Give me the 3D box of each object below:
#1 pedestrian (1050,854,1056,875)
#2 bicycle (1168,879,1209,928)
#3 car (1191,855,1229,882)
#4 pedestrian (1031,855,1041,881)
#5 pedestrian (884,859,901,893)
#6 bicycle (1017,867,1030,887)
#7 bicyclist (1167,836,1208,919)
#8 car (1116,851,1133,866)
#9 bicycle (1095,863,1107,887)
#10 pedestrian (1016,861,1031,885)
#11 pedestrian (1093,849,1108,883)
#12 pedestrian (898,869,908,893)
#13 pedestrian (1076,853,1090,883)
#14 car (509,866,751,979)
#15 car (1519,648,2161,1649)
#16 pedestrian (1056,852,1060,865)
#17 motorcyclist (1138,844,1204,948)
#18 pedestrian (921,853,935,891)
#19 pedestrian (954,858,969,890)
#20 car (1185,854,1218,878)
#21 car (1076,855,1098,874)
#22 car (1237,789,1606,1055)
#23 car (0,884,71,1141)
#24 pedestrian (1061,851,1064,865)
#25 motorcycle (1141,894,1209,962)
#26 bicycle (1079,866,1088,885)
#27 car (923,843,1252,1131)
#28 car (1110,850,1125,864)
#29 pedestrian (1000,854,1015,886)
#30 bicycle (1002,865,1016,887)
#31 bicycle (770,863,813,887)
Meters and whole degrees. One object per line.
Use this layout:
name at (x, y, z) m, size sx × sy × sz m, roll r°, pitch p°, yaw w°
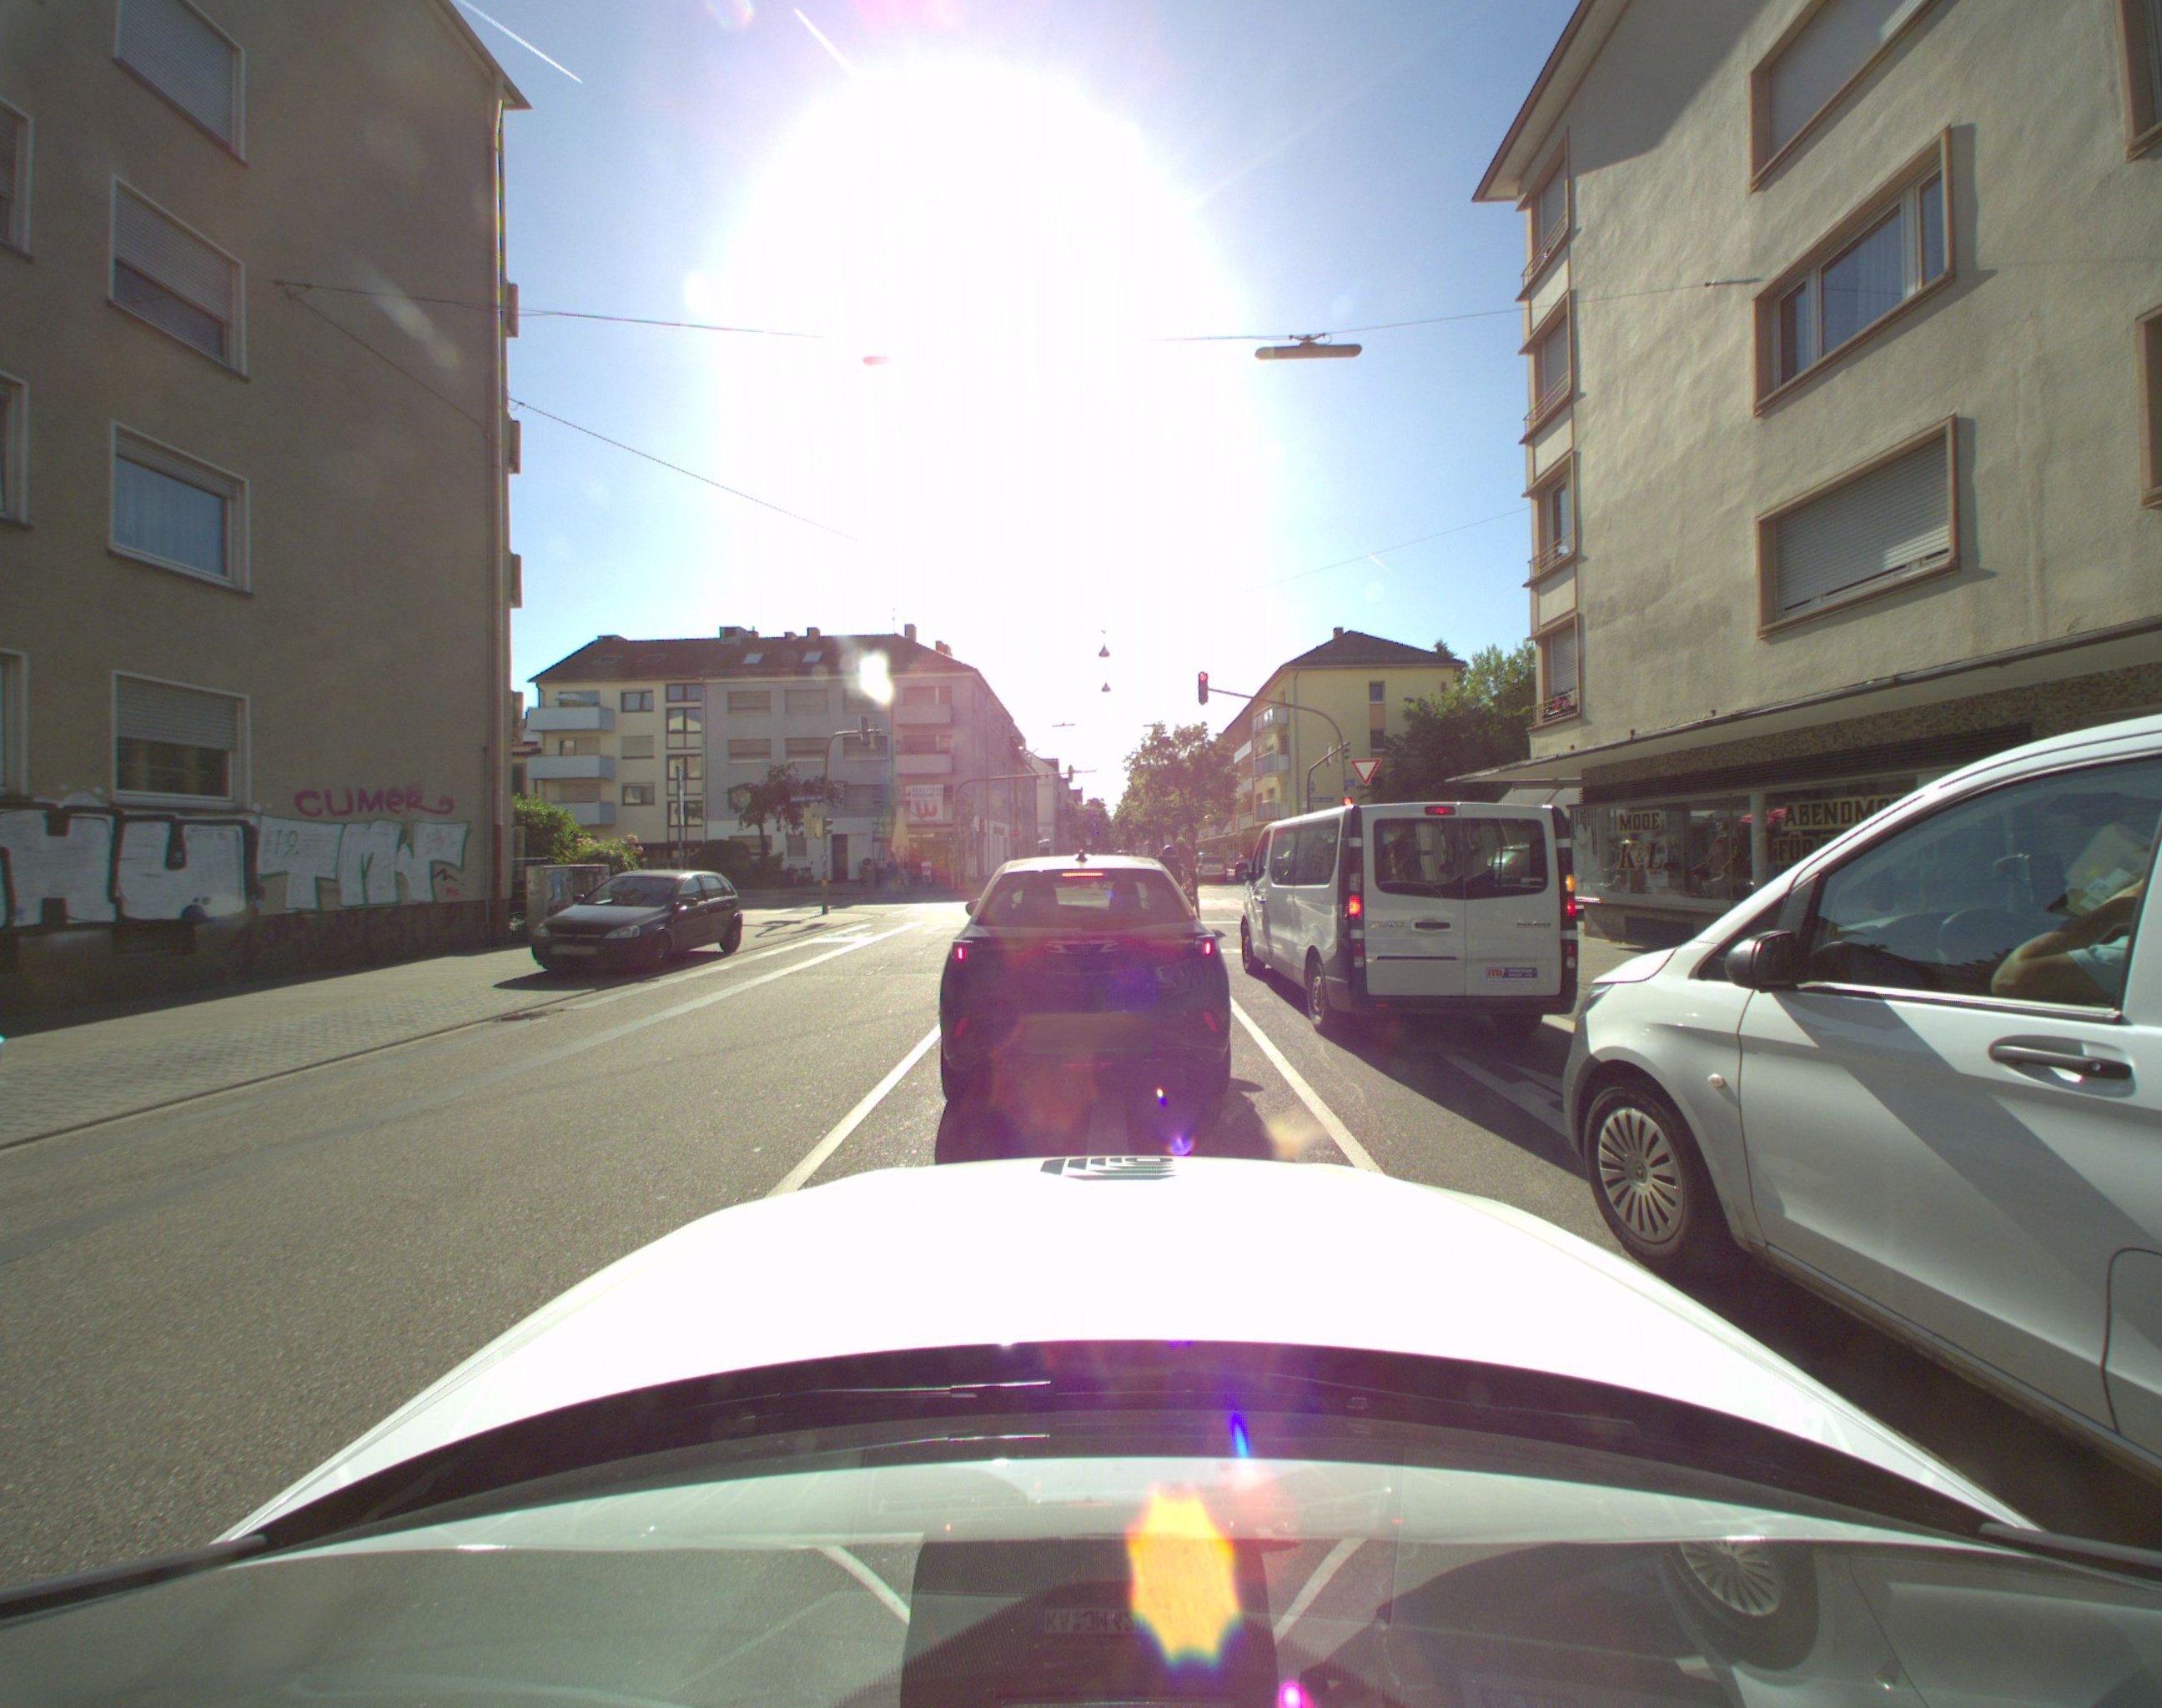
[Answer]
pedestrian at (-2.373, 0.890, 68.797) m, size 0.486 × 1.690 × 0.588 m, roll -1°, pitch 0°, yaw 1°
bicycle at (2.293, 1.040, 17.613) m, size 0.575 × 0.904 × 2.301 m, roll -1°, pitch 0°, yaw 0°
car at (7.423, 0.792, 47.112) m, size 1.628 × 1.433 × 3.958 m, roll -1°, pitch 0°, yaw 2°
pedestrian at (-2.856, 0.883, 51.698) m, size 0.568 × 1.690 × 0.588 m, roll -1°, pitch 0°, yaw 1°
pedestrian at (-8.742, 1.016, 37.777) m, size 0.582 × 1.521 × 0.649 m, roll -1°, pitch 0°, yaw -1°
bicycle at (-3.074, 1.242, 43.845) m, size 0.520 × 0.992 × 2.339 m, roll -1°, pitch 0°, yaw 0°
bicyclist at (2.288, 0.492, 17.639) m, size 0.687 × 1.712 × 1.414 m, roll -1°, pitch 0°, yaw 0°
car at (5.063, 0.532, 95.378) m, size 1.894 × 1.728 × 4.075 m, roll -1°, pitch 0°, yaw 2°
bicycle at (0.977, 1.047, 40.826) m, size 0.520 × 1.147 × 2.170 m, roll -1°, pitch 0°, yaw 0°
pedestrian at (-3.082, 0.997, 43.716) m, size 0.704 × 1.253 × 0.802 m, roll -1°, pitch 0°, yaw 0°
pedestrian at (0.963, 0.600, 40.744) m, size 0.704 × 1.701 × 0.802 m, roll -1°, pitch 0°, yaw 0°
pedestrian at (-8.240, 1.270, 37.766) m, size 0.354 × 1.092 × 0.461 m, roll -1°, pitch 0°, yaw -1°
pedestrian at (0.104, 0.733, 44.060) m, size 0.678 × 1.606 × 0.762 m, roll -1°, pitch 0°, yaw 0°
car at (-6.785, 0.948, 12.746) m, size 1.610 × 1.425 × 3.711 m, roll 1°, pitch 0°, yaw 1°
car at (2.920, 0.537, 1.221) m, size 1.830 × 1.869 × 4.995 m, roll -1°, pitch 0°, yaw 0°
pedestrian at (-2.849, 0.548, 100.440) m, size 0.400 × 1.675 × 0.418 m, roll -1°, pitch 0°, yaw 1°
motorcyclist at (1.350, 0.611, 12.441) m, size 0.861 × 1.502 × 1.160 m, roll -1°, pitch 0°, yaw 1°
pedestrian at (-7.163, 0.849, 38.106) m, size 0.560 × 1.775 × 0.582 m, roll -1°, pitch 0°, yaw -7°
pedestrian at (-5.736, 0.969, 39.109) m, size 0.615 × 1.521 × 0.724 m, roll -1°, pitch 0°, yaw -1°
car at (7.651, 0.740, 51.897) m, size 1.628 × 1.433 × 4.002 m, roll -1°, pitch 0°, yaw 2°
car at (0.602, 0.985, 76.083) m, size 1.817 × 1.728 × 4.004 m, roll -1°, pitch 0°, yaw 3°
car at (3.005, 0.507, 8.530) m, size 1.986 × 1.979 × 4.898 m, roll 0°, pitch 0°, yaw 2°
car at (-7.132, 0.917, 2.600) m, size 1.711 × 1.465 × 4.817 m, roll 0°, pitch 0°, yaw 2°
pedestrian at (-2.260, 0.533, 100.150) m, size 0.400 × 1.675 × 0.418 m, roll -1°, pitch 0°, yaw 1°
motorcycle at (1.365, 1.068, 12.185) m, size 0.822 × 0.845 × 1.885 m, roll -1°, pitch 0°, yaw 1°
bicycle at (0.128, 1.172, 44.308) m, size 0.442 × 0.992 × 2.068 m, roll -1°, pitch 0°, yaw 0°
car at (0.042, 0.720, 6.433) m, size 1.765 × 1.530 × 3.999 m, roll -1°, pitch 0°, yaw 0°
car at (4.665, 0.327, 104.809) m, size 1.894 × 1.728 × 4.003 m, roll -1°, pitch 0°, yaw 2°
pedestrian at (-3.915, 0.862, 43.375) m, size 0.704 × 1.678 × 0.802 m, roll -1°, pitch 0°, yaw 0°
bicycle at (-3.870, 1.164, 43.770) m, size 0.520 × 1.147 × 2.283 m, roll -1°, pitch 0°, yaw 0°
bicycle at (-15.352, 1.096, 43.239) m, size 2.103 × 1.172 × 0.735 m, roll -1°, pitch 0°, yaw -22°
